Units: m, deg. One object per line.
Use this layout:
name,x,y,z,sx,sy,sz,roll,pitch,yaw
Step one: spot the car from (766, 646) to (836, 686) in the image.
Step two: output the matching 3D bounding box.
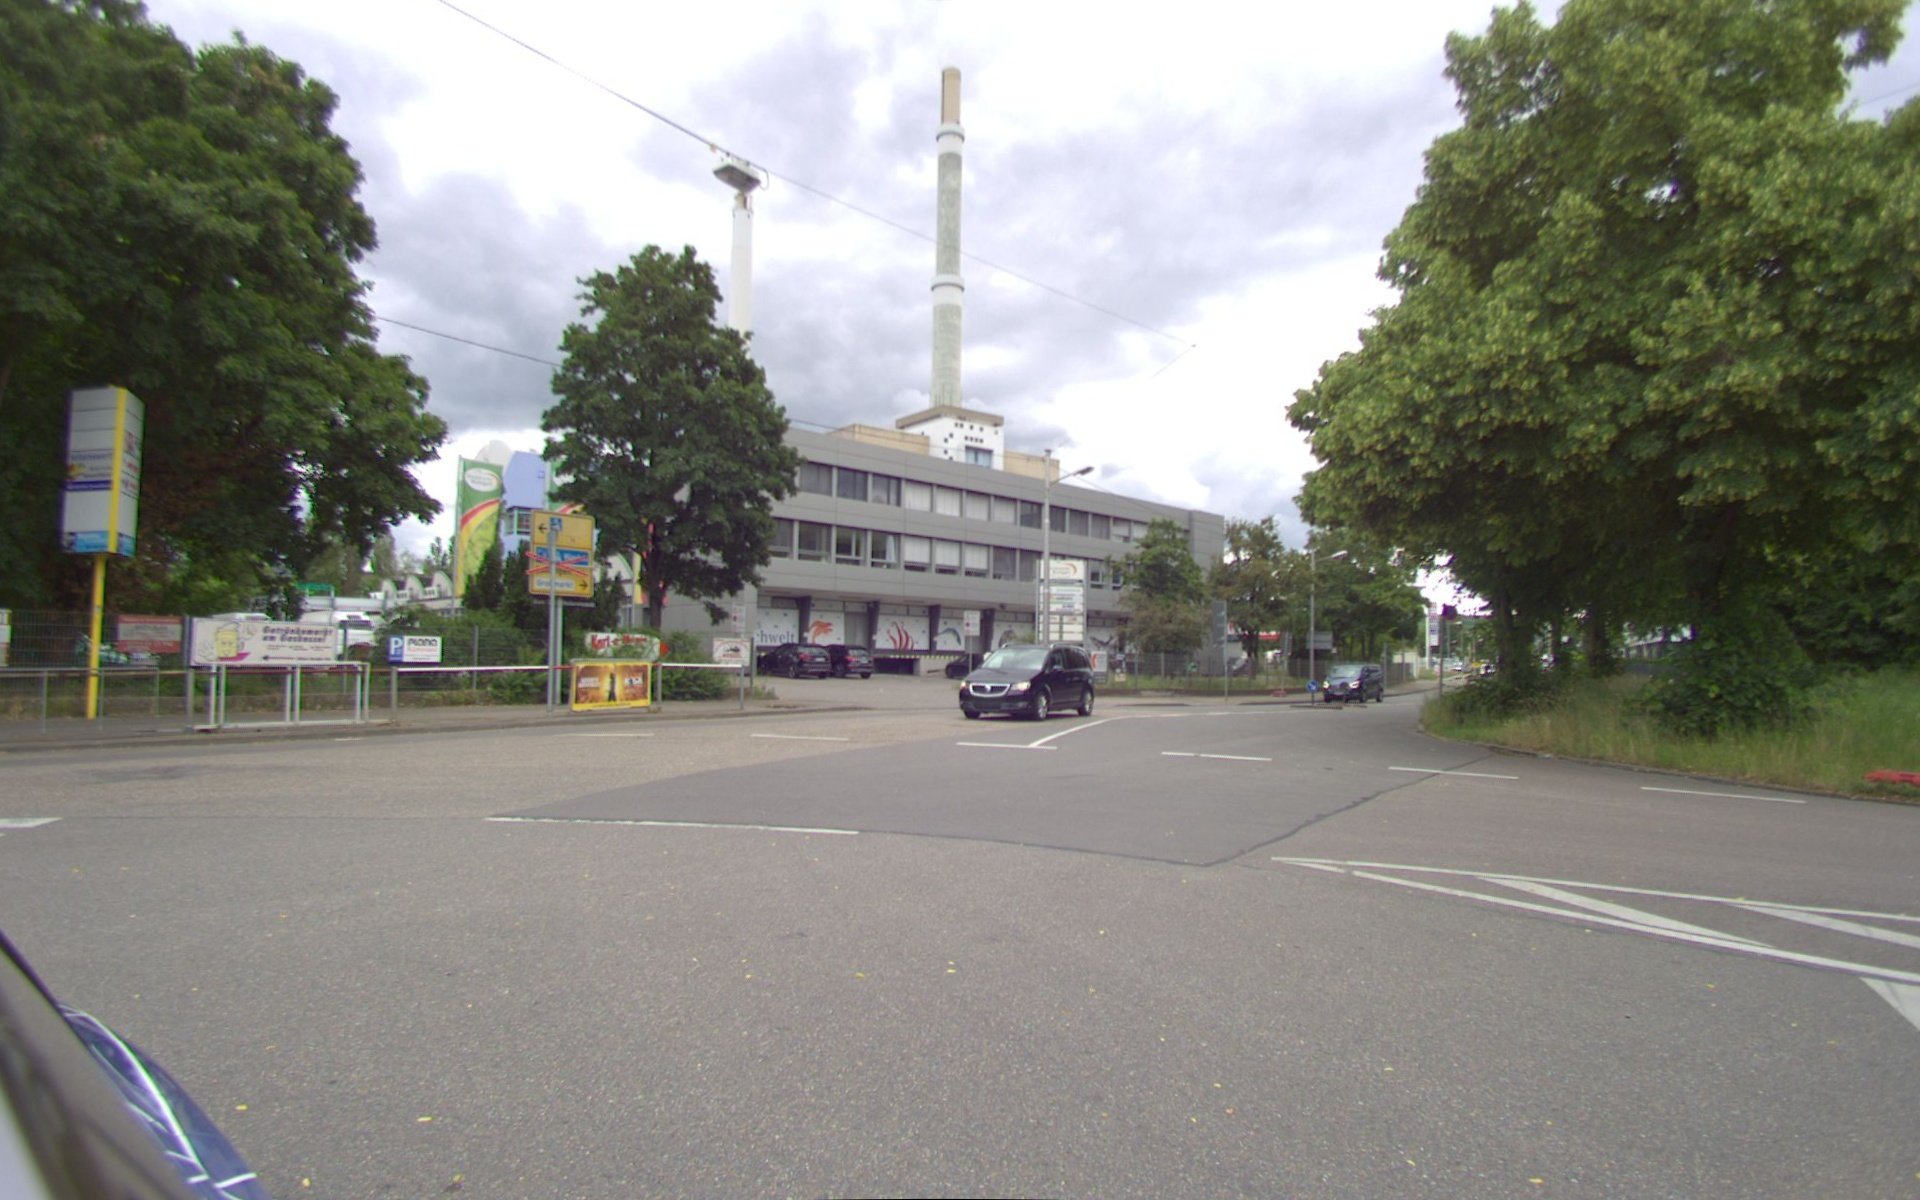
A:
car,-7.776,3.153,49.193,1.750,1.691,3.578,-1,0,-40

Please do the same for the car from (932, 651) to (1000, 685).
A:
car,0.284,3.661,54.848,1.722,1.564,3.616,-1,0,-41

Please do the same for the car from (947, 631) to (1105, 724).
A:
car,1.533,1.687,21.792,1.825,1.785,4.188,-2,-6,28

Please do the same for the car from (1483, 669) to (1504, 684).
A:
car,71.463,10.256,135.564,1.830,1.960,4.513,-2,-4,36

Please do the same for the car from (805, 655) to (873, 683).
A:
car,-6.122,3.455,51.029,1.750,1.187,3.578,-1,0,-40

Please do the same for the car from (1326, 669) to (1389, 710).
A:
car,20.497,4.550,52.092,1.830,1.960,4.743,-2,-4,36
